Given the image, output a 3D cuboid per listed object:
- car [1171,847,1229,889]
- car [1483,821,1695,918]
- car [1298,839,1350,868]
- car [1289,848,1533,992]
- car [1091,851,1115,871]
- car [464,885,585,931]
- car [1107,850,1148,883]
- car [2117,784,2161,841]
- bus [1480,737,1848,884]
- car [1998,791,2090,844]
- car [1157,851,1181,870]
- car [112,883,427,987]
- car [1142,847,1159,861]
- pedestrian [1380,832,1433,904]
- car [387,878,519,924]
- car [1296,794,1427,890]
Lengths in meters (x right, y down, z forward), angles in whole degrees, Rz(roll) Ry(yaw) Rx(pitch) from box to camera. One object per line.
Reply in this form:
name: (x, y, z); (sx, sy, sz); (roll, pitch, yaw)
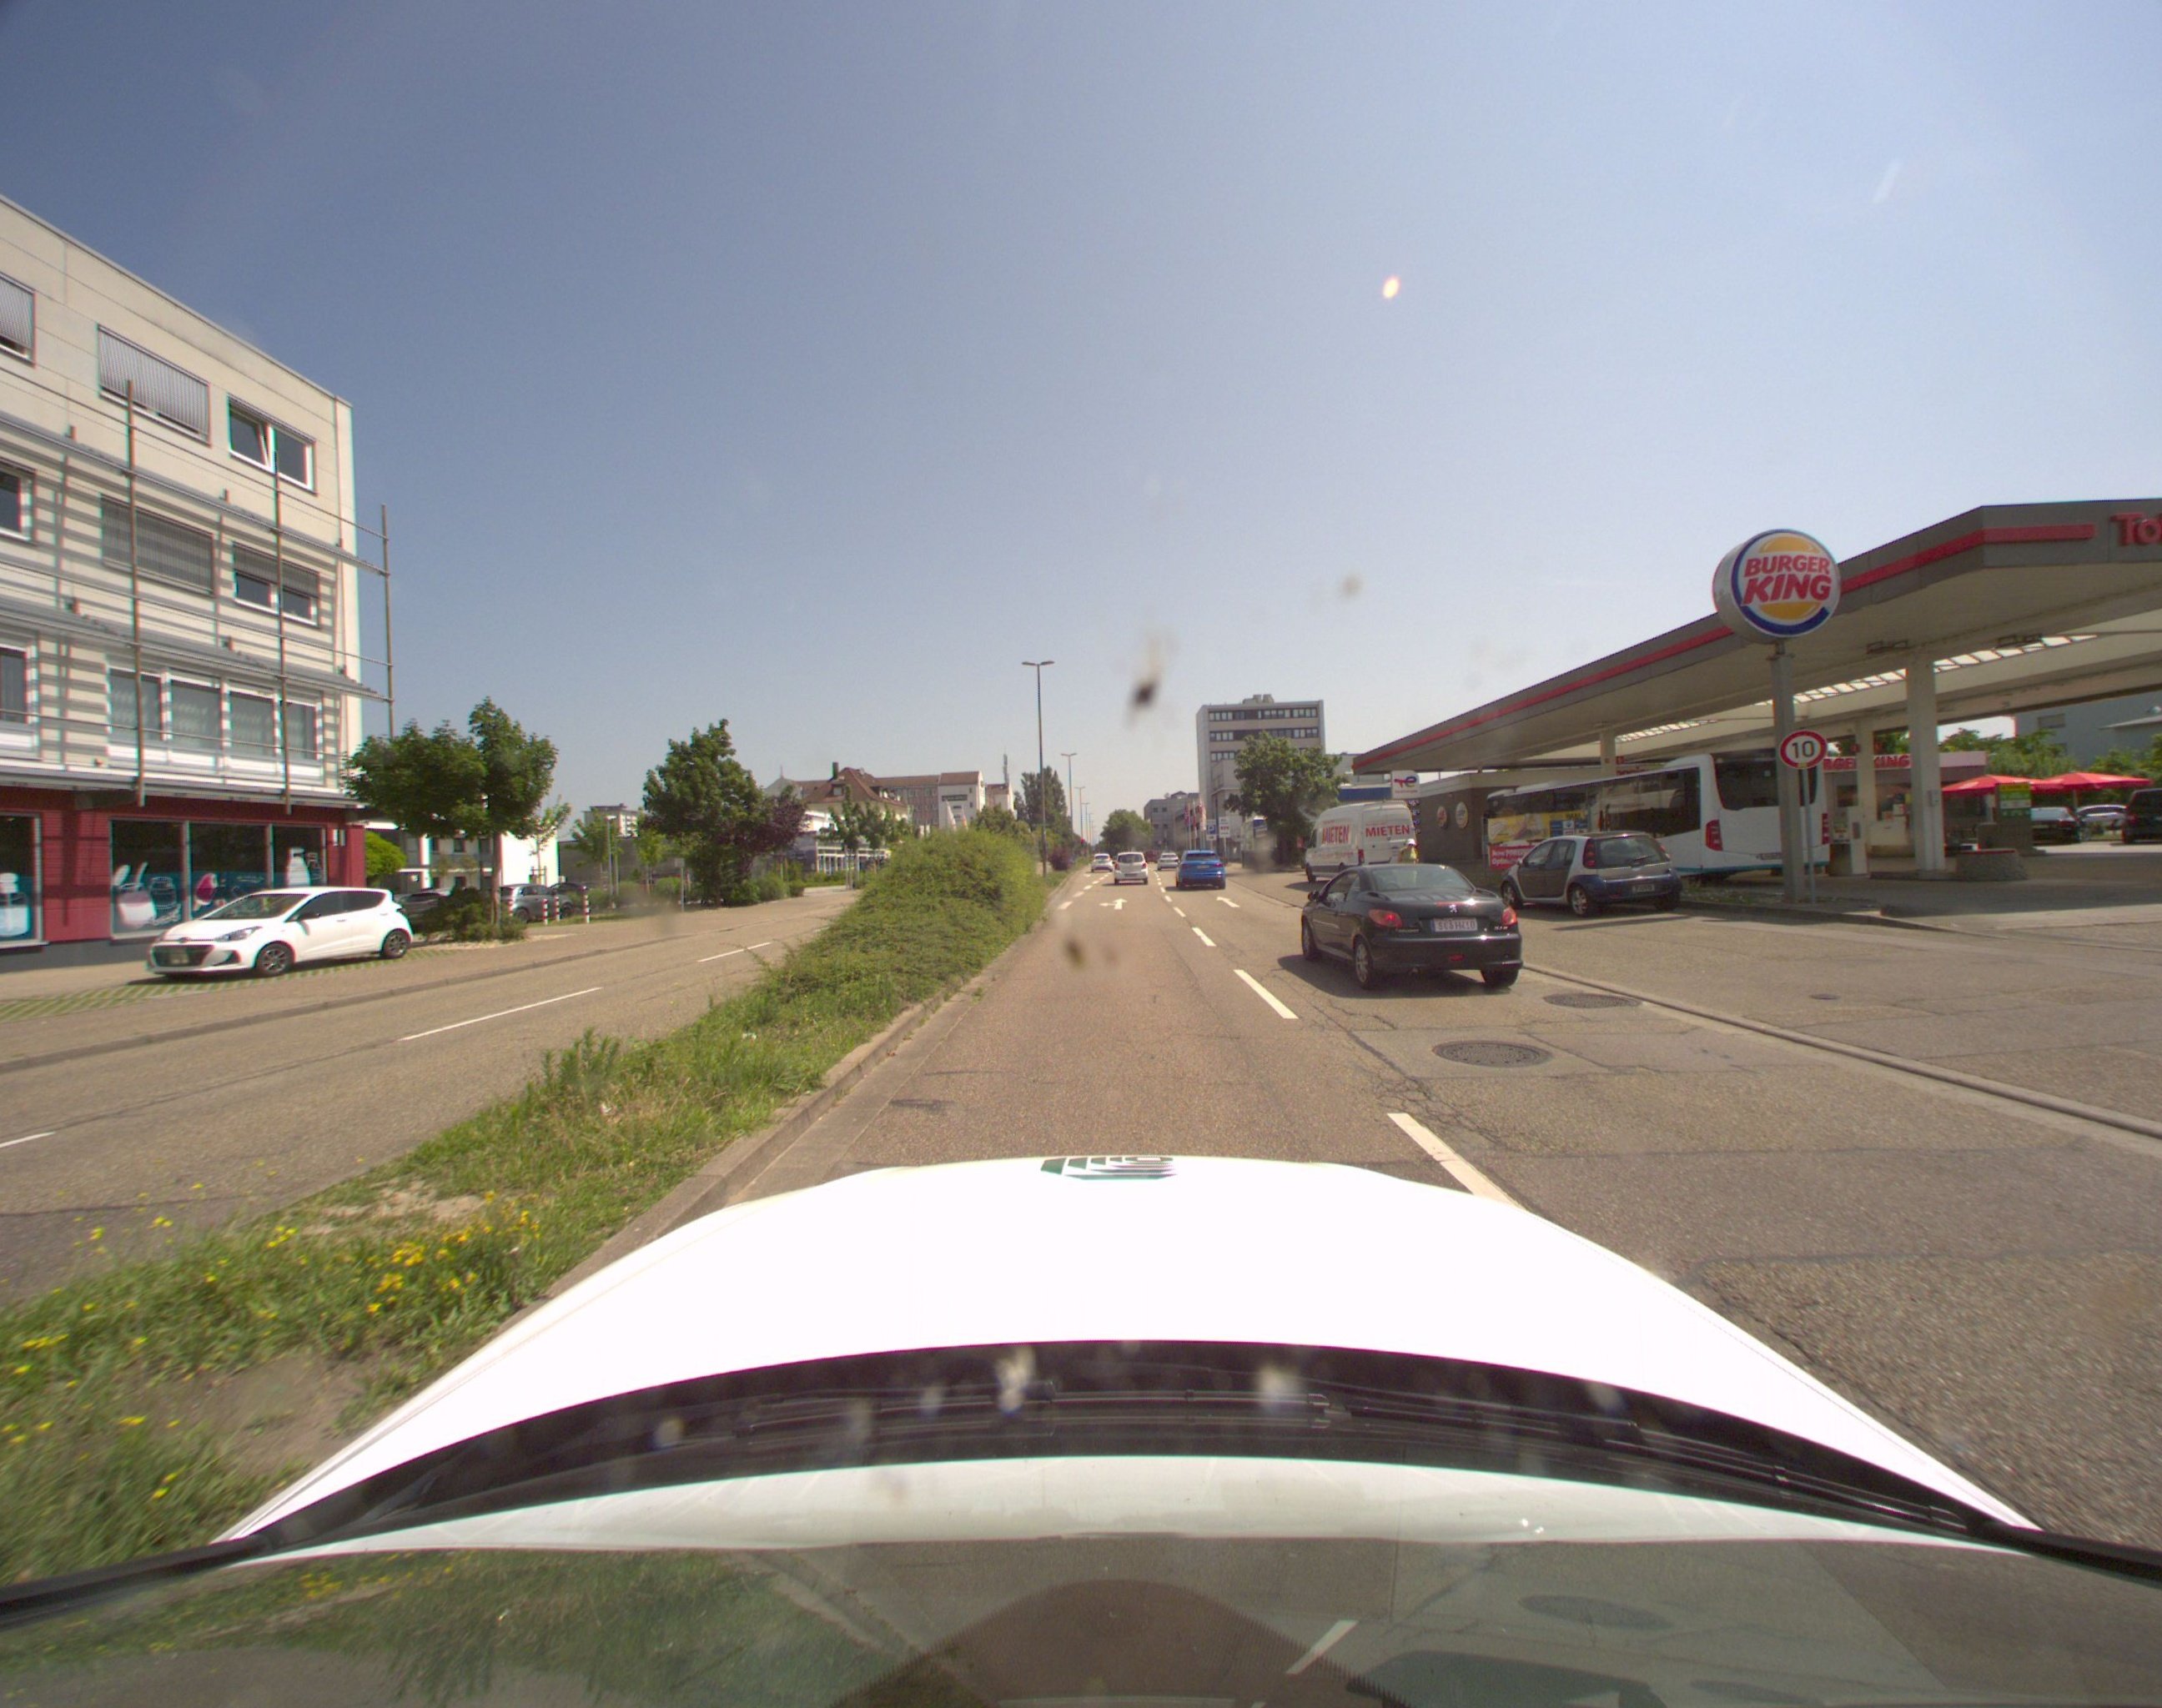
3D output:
car: (4.832, 0.515, 33.587); (1.905, 1.597, 4.399); (-1, 1, 3)
car: (9.517, 0.267, 15.652); (1.651, 1.519, 3.820); (-5, 0, 1)
car: (13.795, 0.010, 46.423); (1.744, 1.511, 3.999); (-1, -2, 0)
car: (3.836, 0.676, 10.147); (1.594, 1.425, 3.662); (-2, 0, 1)
car: (1.779, 0.566, 65.161); (1.822, 1.450, 4.003); (-1, -2, 3)
car: (-21.228, 2.021, 31.263); (1.762, 1.547, 4.001); (-3, -2, 2)
car: (2.216, 0.591, 39.207); (1.707, 1.511, 3.245); (-1, -1, -1)
car: (36.757, -1.402, 27.633); (4.018, 1.744, 1.840); (0, -3, -37)
bus: (15.578, -1.032, 23.715); (2.791, 3.078, 12.302); (-2, 1, 5)
car: (36.809, -1.339, 31.113); (4.018, 1.744, 1.977); (0, -3, -37)
car: (7.152, 0.509, 66.200); (1.660, 1.399, 3.795); (-2, 0, 2)
car: (-14.646, 1.366, 15.088); (1.672, 1.494, 4.044); (-1, 0, 2)
car: (9.158, 0.017, 107.706); (1.789, 1.729, 3.971); (-1, -2, -1)
pedestrian: (8.472, 0.352, 21.228); (0.812, 1.748, 0.703); (-10, 1, 1)
car: (-23.394, 1.723, 30.561); (1.747, 1.552, 4.001); (-1, -2, 2)
car: (9.712, -0.384, 29.041); (2.125, 2.839, 7.311); (-4, 0, 1)
